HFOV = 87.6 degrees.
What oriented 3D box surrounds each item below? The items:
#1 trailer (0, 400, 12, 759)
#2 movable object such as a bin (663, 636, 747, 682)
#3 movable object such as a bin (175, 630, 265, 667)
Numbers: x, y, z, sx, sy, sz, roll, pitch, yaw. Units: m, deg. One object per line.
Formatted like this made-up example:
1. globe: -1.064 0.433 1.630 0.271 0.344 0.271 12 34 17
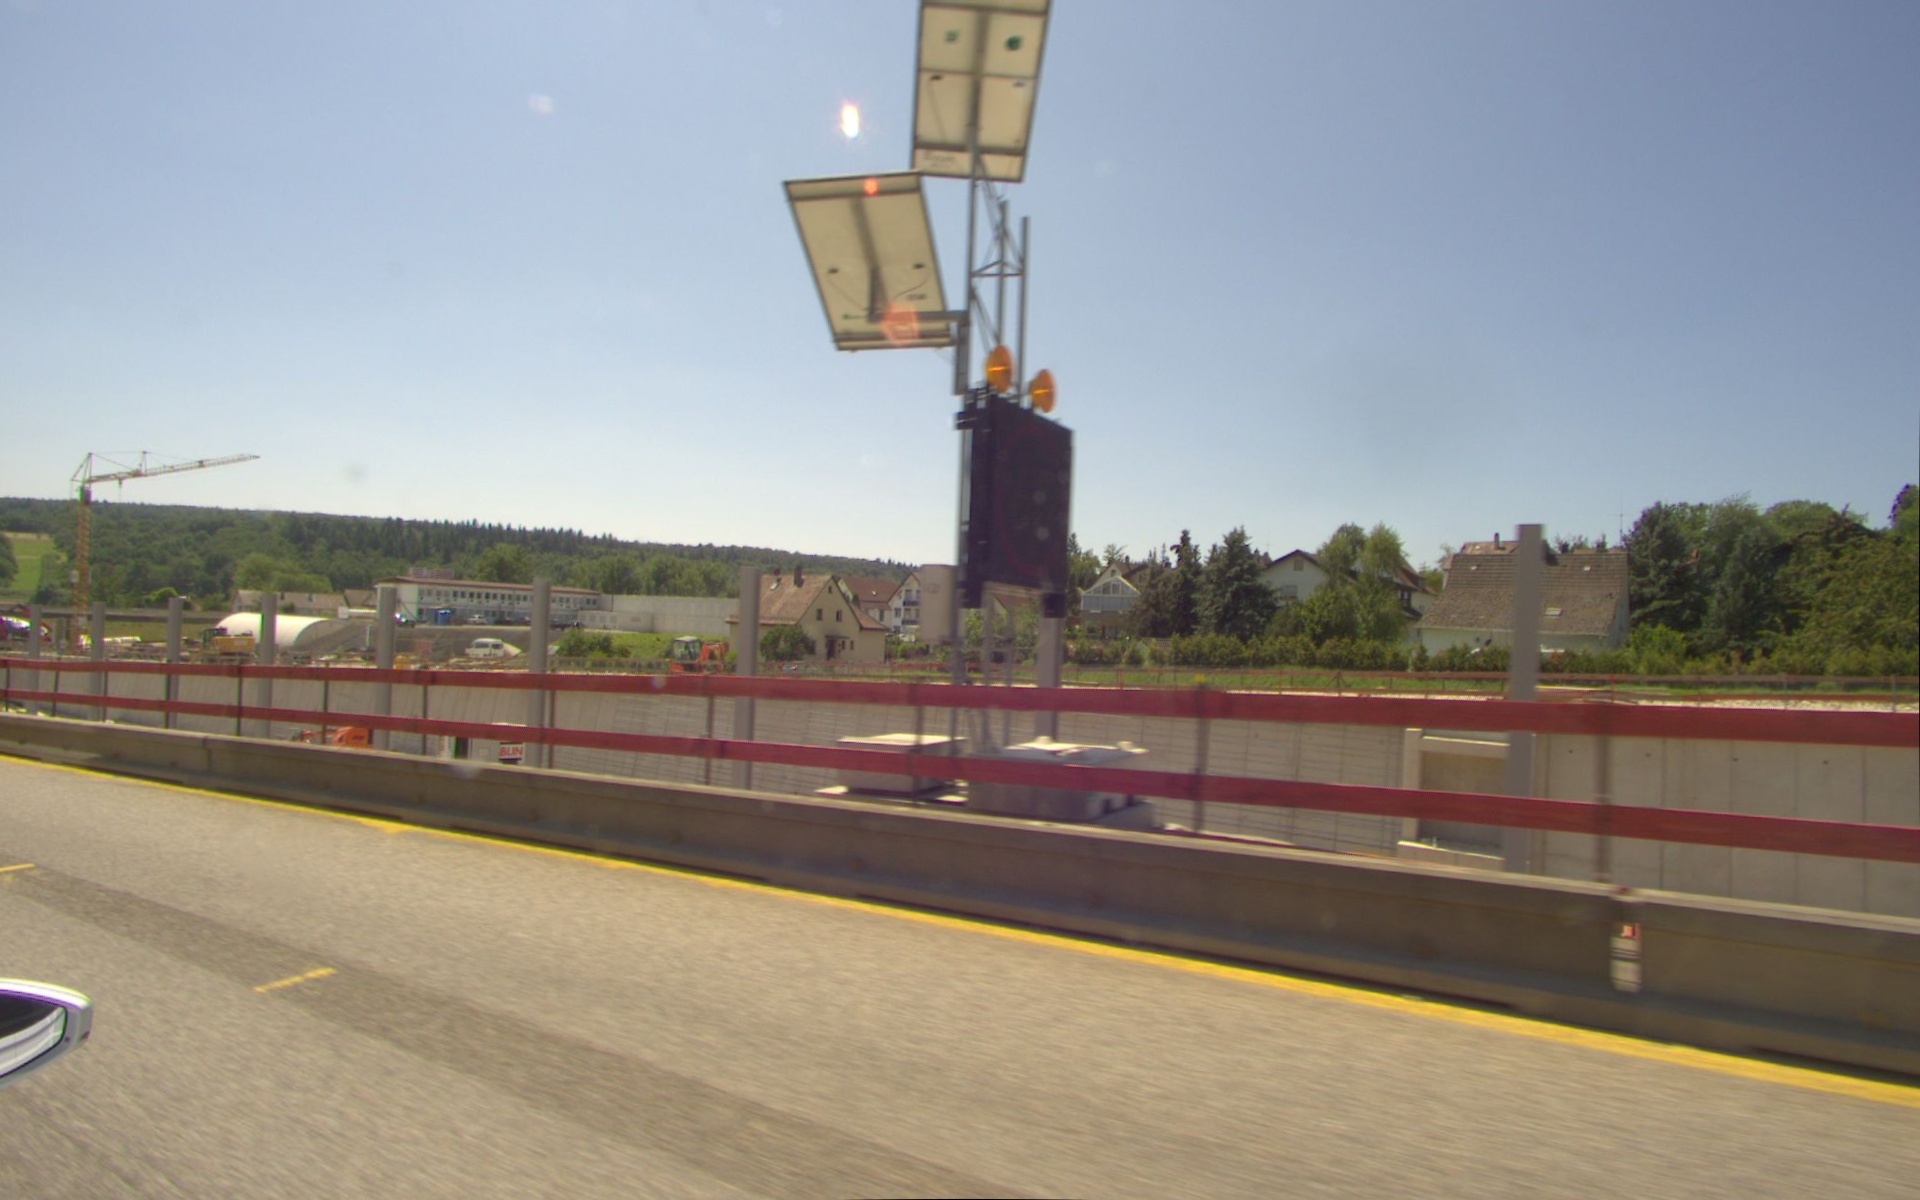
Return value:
1. trailer: -17.555 -0.123 14.039 13.915 4.110 2.797 -1 -2 32
2. movable object such as a bin: -13.110 2.970 51.438 4.093 2.267 1.990 -1 -2 33
3. movable object such as a bin: -61.481 3.979 83.099 9.346 2.946 2.882 -1 -2 33
